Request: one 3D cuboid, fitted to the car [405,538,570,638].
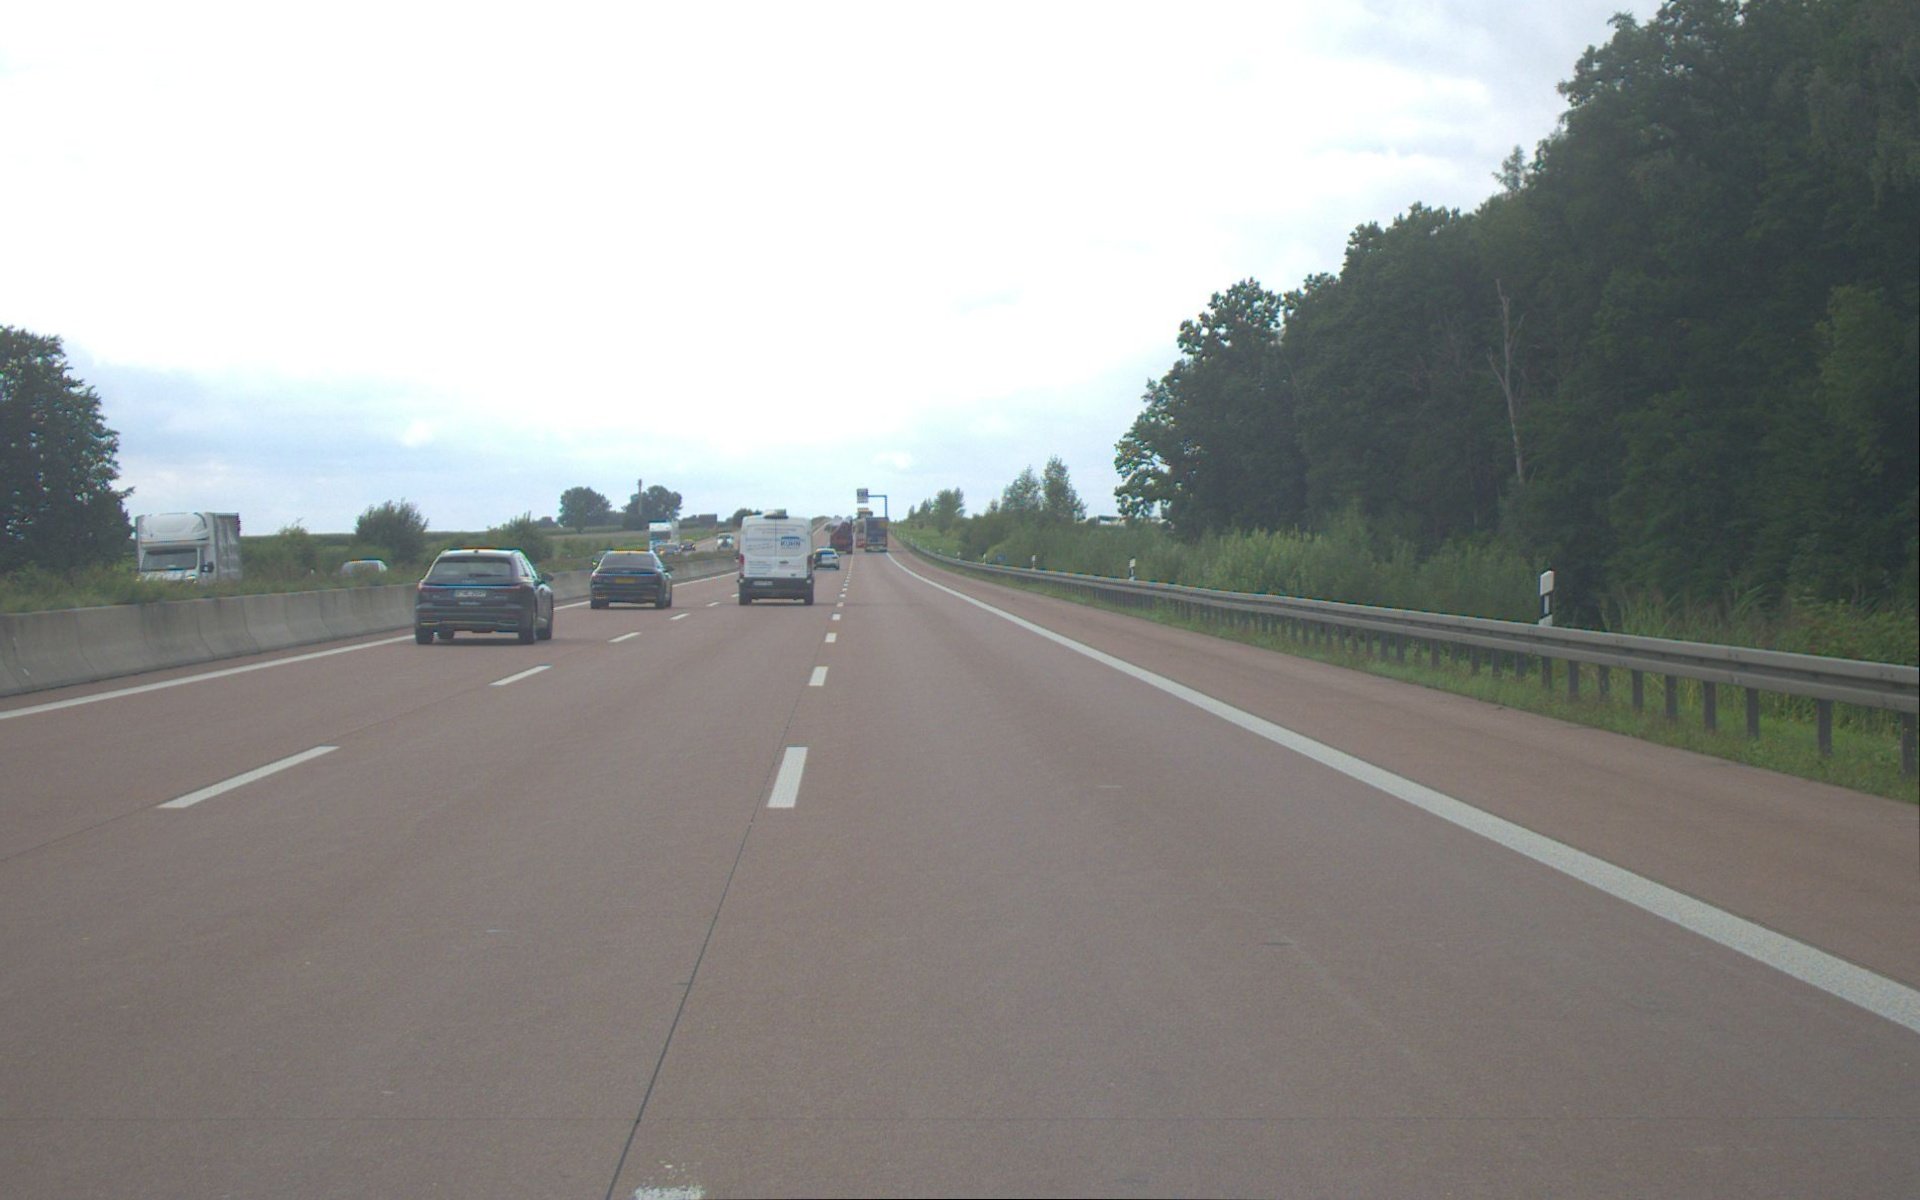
[{"bbox_3d":[-7.495,-0.233,54.997,2.059,1.486,5.454,0,1,-2],"label":"car"}]

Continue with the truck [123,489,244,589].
[{"bbox_3d":[-25.293,-1.984,112.255,2.356,3.089,7.482,2,1,-2],"label":"truck"}]

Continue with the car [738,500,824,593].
[{"bbox_3d":[-4.917,-1.523,95.390,2.137,2.498,7.132,0,2,-1],"label":"car"}]

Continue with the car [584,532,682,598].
[{"bbox_3d":[-8.253,-0.910,87.226,2.085,1.545,5.675,1,1,-2],"label":"car"}]
